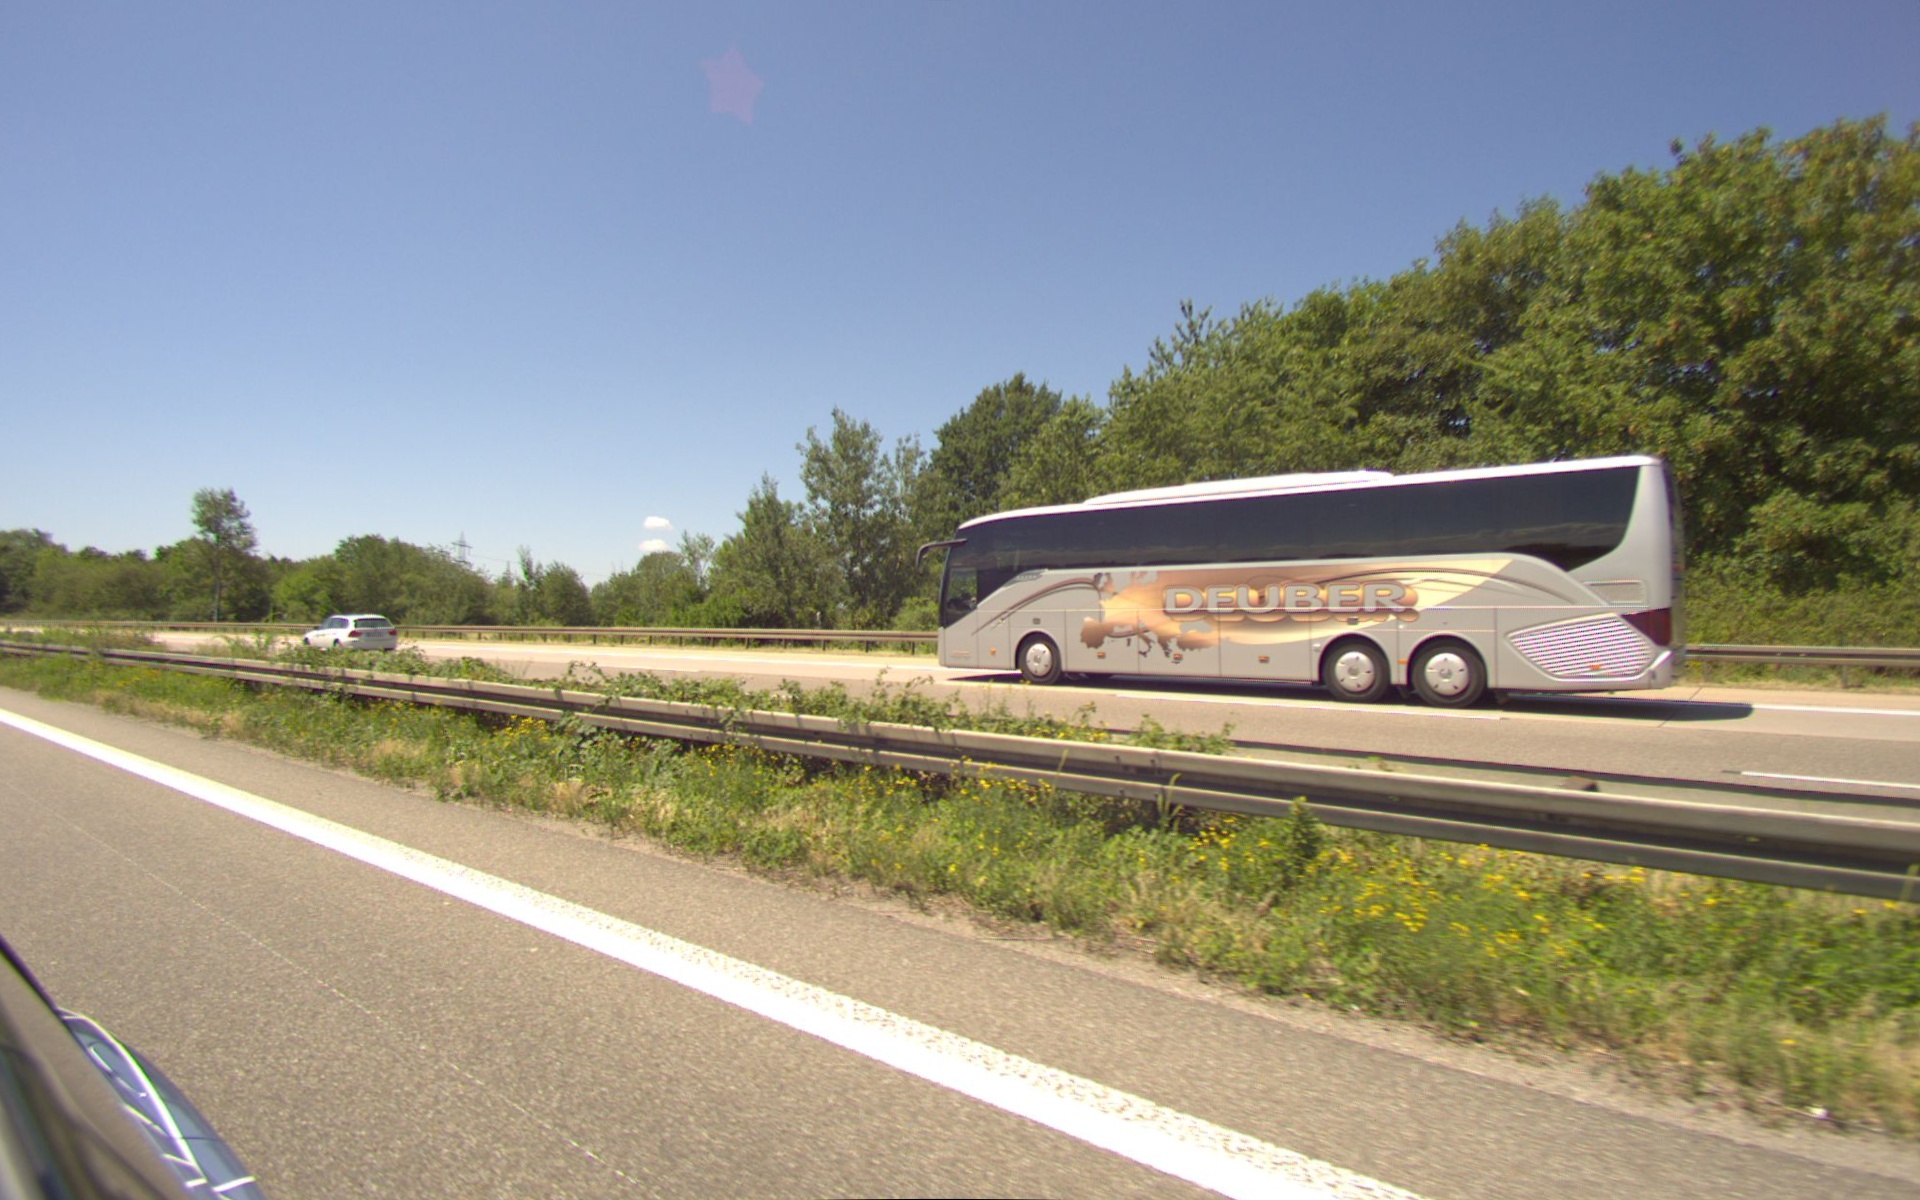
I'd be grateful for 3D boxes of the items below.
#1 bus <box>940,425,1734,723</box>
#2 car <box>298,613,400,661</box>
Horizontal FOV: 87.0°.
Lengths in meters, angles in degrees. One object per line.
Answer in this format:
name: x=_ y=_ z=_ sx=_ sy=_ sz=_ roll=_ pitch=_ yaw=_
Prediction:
bus: x=5.439 y=-0.265 z=17.887 sx=12.988 sy=3.735 sz=2.714 roll=-1 pitch=0 yaw=40
car: x=-21.327 y=1.237 z=35.263 sx=4.327 sy=1.526 sz=1.750 roll=-1 pitch=0 yaw=40
